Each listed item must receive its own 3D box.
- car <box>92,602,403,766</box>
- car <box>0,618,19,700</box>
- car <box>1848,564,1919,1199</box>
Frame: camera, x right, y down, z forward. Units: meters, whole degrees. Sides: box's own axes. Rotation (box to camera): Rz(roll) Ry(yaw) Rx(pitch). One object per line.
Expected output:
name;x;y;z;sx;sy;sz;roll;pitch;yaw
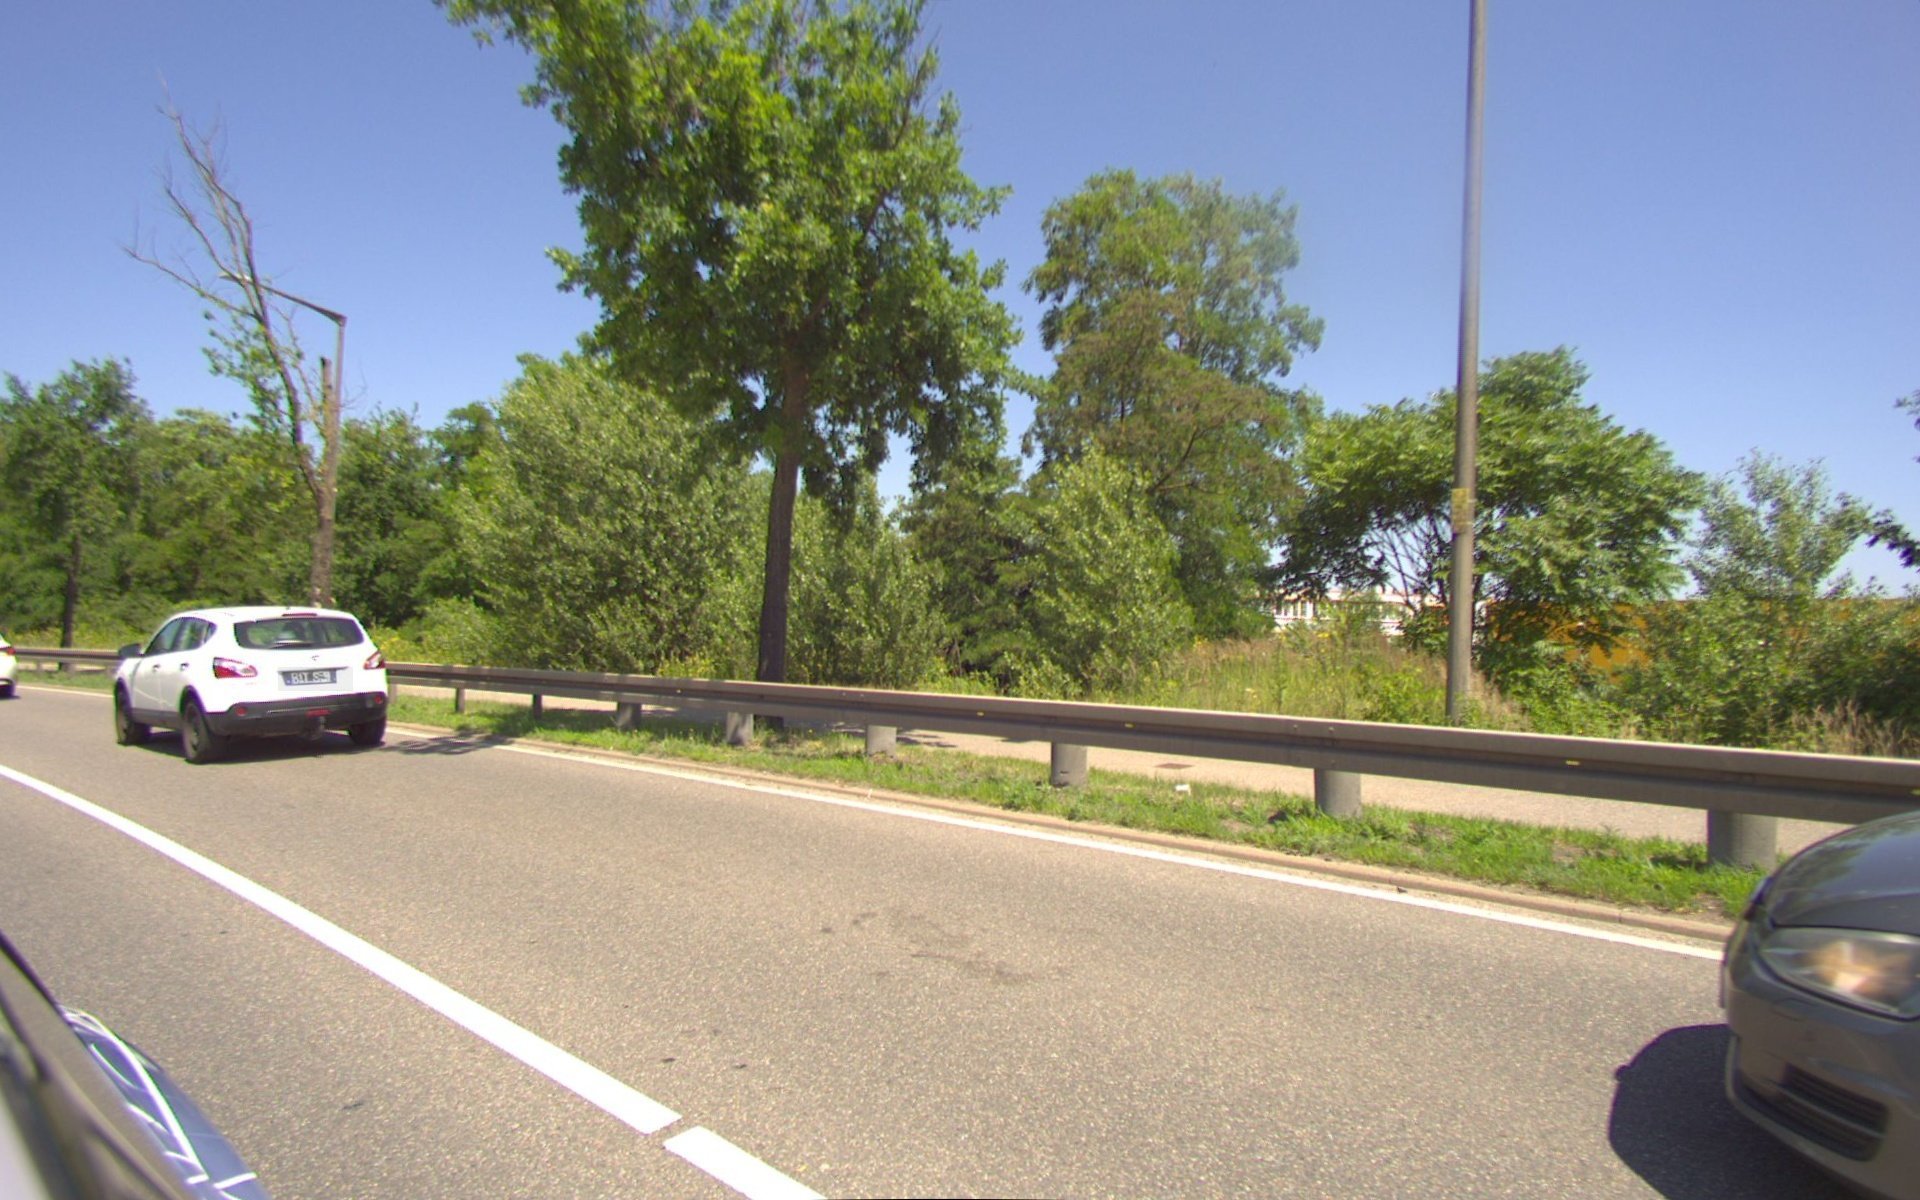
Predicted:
car;-8.314;0.833;11.664;4.386;1.558;1.729;-1;-1;38
car;-19.369;1.105;18.791;4.444;1.458;1.688;-1;0;32
car;3.841;0.621;1.232;4.107;1.438;1.698;-1;-1;43
